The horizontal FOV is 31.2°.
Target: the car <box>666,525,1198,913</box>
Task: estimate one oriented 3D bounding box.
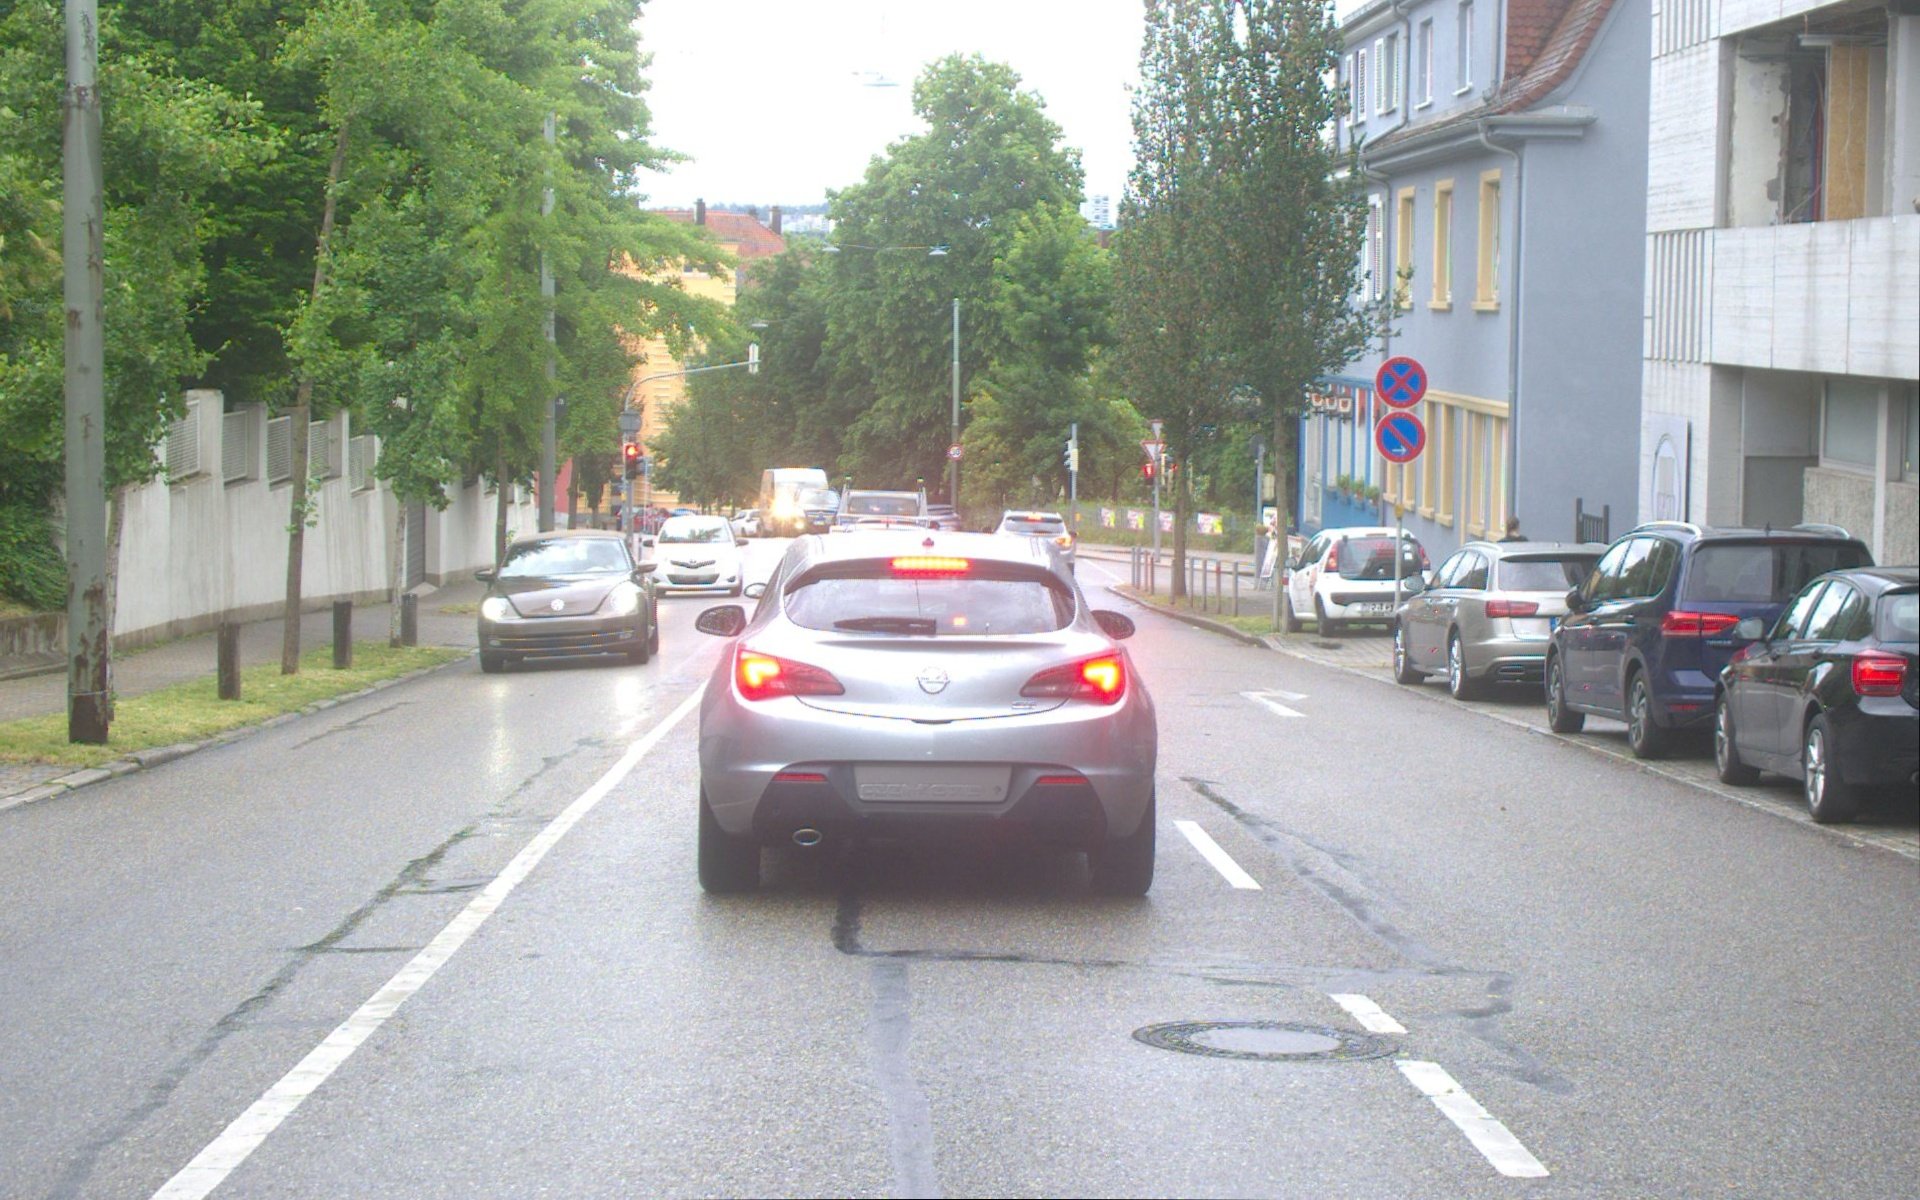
[{"bbox_3d":[-0.266,0.414,14.949,1.945,1.427,3.885,1,1,-6],"label":"car"}]

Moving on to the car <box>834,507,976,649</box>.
[{"bbox_3d":[-0.835,-0.354,49.438,1.768,1.775,3.977,4,2,-3],"label":"car"}]

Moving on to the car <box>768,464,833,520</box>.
[{"bbox_3d":[-5.492,-3.745,118.974,1.993,1.778,4.001,4,2,-1],"label":"car"}]

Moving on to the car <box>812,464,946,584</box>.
[{"bbox_3d":[-1.528,-1.491,65.592,2.334,2.029,4.736,4,2,-1],"label":"car"}]

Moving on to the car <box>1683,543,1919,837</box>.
[{"bbox_3d":[5.534,0.444,20.220,1.681,1.459,4.001,0,2,0],"label":"car"}]

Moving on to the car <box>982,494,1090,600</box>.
[{"bbox_3d":[1.608,-1.182,74.368,1.993,2.029,4.736,4,2,-1],"label":"car"}]

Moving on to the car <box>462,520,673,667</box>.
[{"bbox_3d":[-4.278,-0.115,38.048,1.850,1.464,4.088,-2,1,-1],"label":"car"}]

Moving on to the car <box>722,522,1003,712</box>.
[{"bbox_3d":[-0.834,0.091,26.773,1.797,1.318,4.001,2,1,-7],"label":"car"}]

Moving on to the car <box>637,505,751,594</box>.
[{"bbox_3d":[-4.959,-0.968,64.566,1.822,1.474,3.864,-3,2,-1],"label":"car"}]

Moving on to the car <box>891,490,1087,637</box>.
[{"bbox_3d":[0.284,-0.467,40.263,1.960,1.467,3.952,4,2,-3],"label":"car"}]

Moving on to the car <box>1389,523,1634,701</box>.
[{"bbox_3d":[5.138,0.061,32.502,1.584,1.488,4.290,0,2,0],"label":"car"}]

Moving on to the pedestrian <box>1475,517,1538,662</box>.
[{"bbox_3d":[6.835,-0.133,43.033,0.645,1.778,0.542,1,2,-1],"label":"pedestrian"}]

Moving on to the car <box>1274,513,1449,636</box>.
[{"bbox_3d":[5.485,-0.384,47.433,1.906,1.565,4.001,0,2,0],"label":"car"}]

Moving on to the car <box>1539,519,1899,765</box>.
[{"bbox_3d":[5.397,0.235,24.927,1.685,1.565,4.001,0,2,0],"label":"car"}]

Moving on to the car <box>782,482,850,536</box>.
[{"bbox_3d":[-4.661,-2.973,111.624,1.993,1.530,4.309,4,2,-1],"label":"car"}]
